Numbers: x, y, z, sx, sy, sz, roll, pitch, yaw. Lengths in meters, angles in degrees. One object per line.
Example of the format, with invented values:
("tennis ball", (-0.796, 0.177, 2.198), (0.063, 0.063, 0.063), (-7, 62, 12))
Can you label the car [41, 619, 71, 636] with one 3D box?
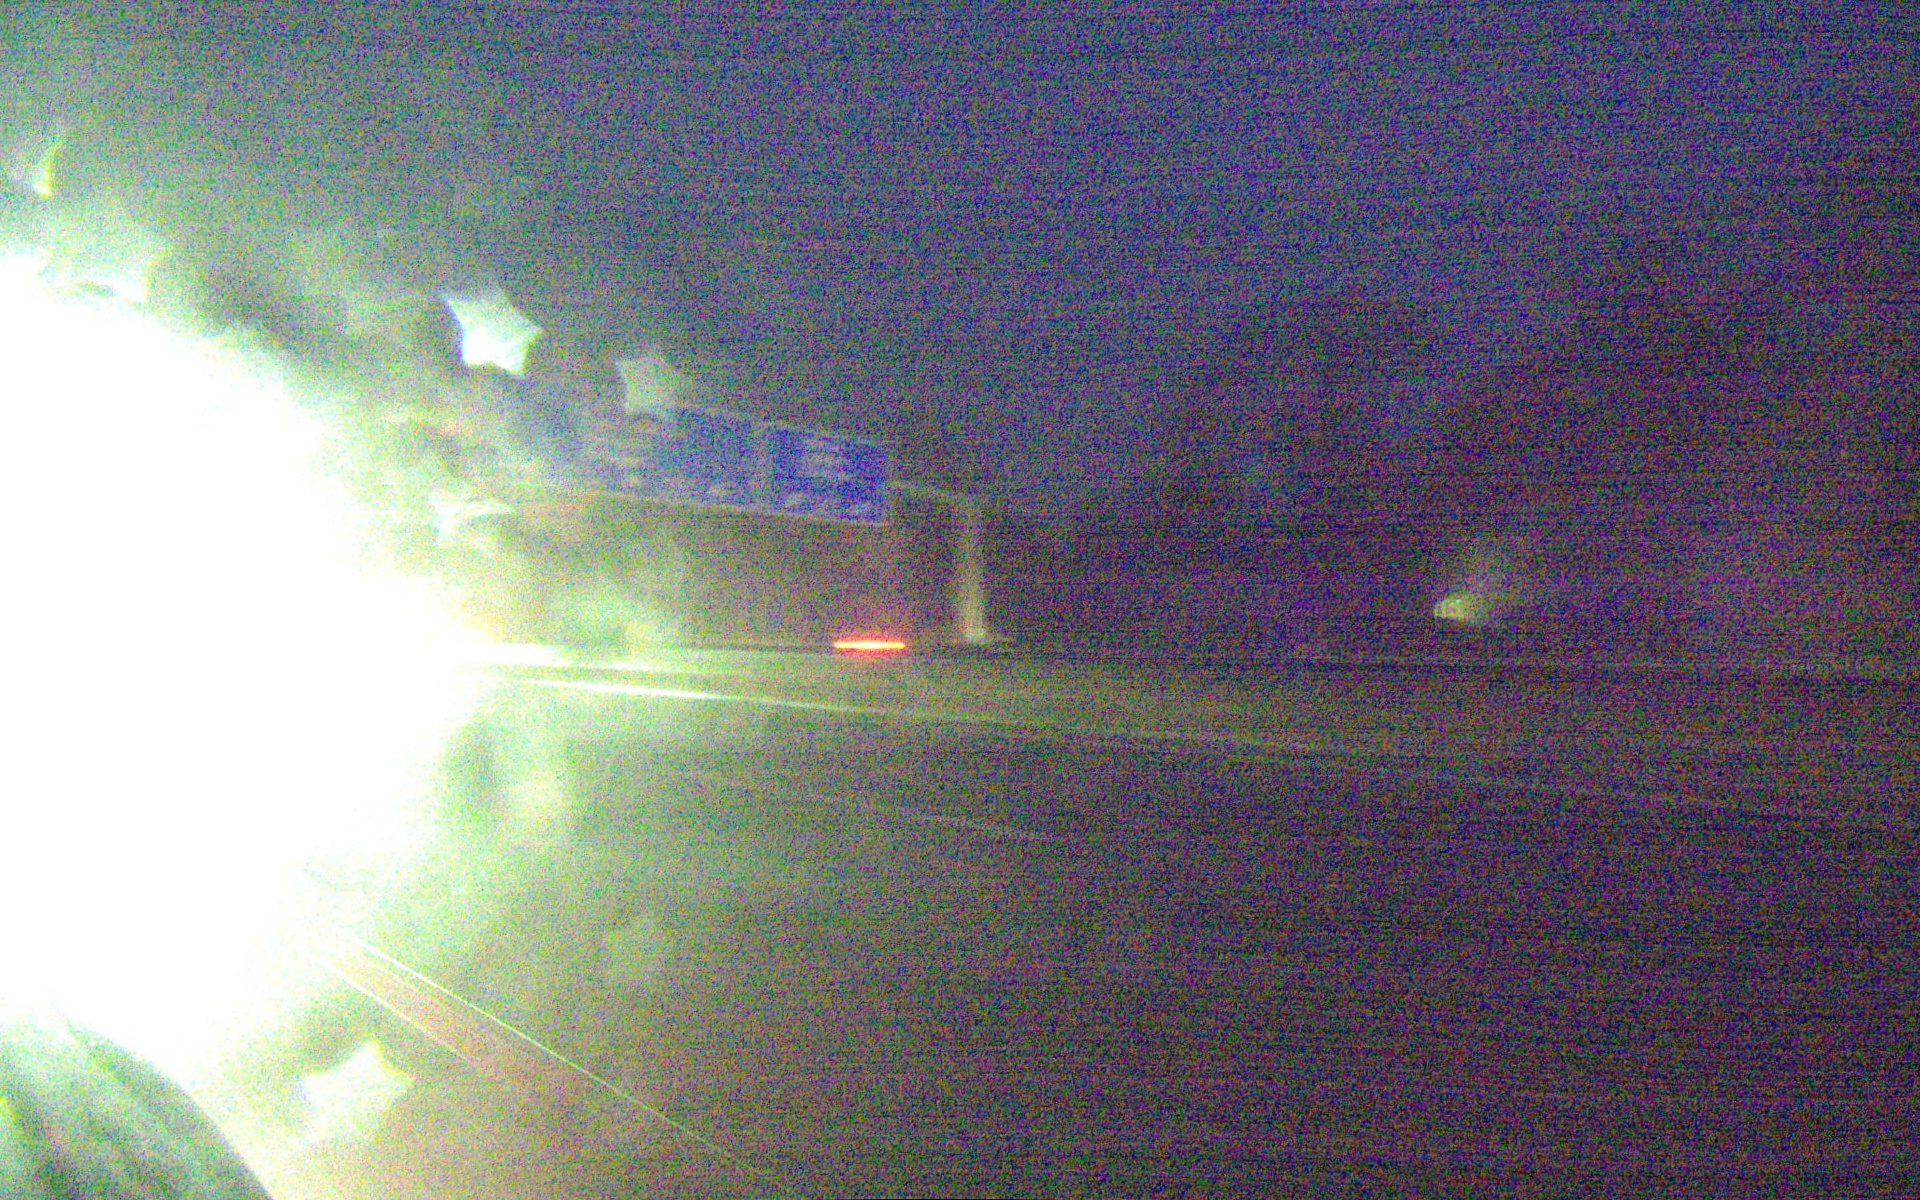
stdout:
("car", (-87.048, 2.642, 97.444), (3.944, 1.524, 1.639), (-1, 0, 41))

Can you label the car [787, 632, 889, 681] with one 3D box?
("car", (-4.781, 2.168, 39.466), (3.998, 1.702, 1.743), (-1, 0, 41))

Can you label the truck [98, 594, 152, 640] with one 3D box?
("truck", (-94.505, 1.879, 114.506), (6.475, 4.946, 3.749), (-1, 0, 41))

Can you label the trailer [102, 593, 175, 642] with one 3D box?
("trailer", (-89.495, 1.829, 110.077), (14.794, 5.065, 3.749), (-1, 0, 41))

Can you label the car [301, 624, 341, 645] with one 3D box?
("car", (-50.289, 2.697, 79.625), (3.998, 1.524, 1.639), (-1, 0, 41))

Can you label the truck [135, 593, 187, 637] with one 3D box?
("truck", (-108.573, 1.980, 137.403), (12.790, 5.634, 3.205), (-1, 0, 41))

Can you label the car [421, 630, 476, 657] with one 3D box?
("car", (-32.489, 2.733, 64.226), (3.998, 1.584, 1.781), (-1, 0, 41))

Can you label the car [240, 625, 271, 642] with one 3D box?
("car", (-71.881, 3.400, 103.241), (3.998, 1.524, 1.639), (-1, 0, 41))

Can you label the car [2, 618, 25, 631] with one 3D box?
("car", (-114.147, 2.909, 121.988), (3.998, 1.524, 1.639), (-1, 0, 41))

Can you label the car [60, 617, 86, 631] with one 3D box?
("car", (-98.116, 2.653, 111.960), (3.998, 1.524, 1.639), (-1, 0, 41))
